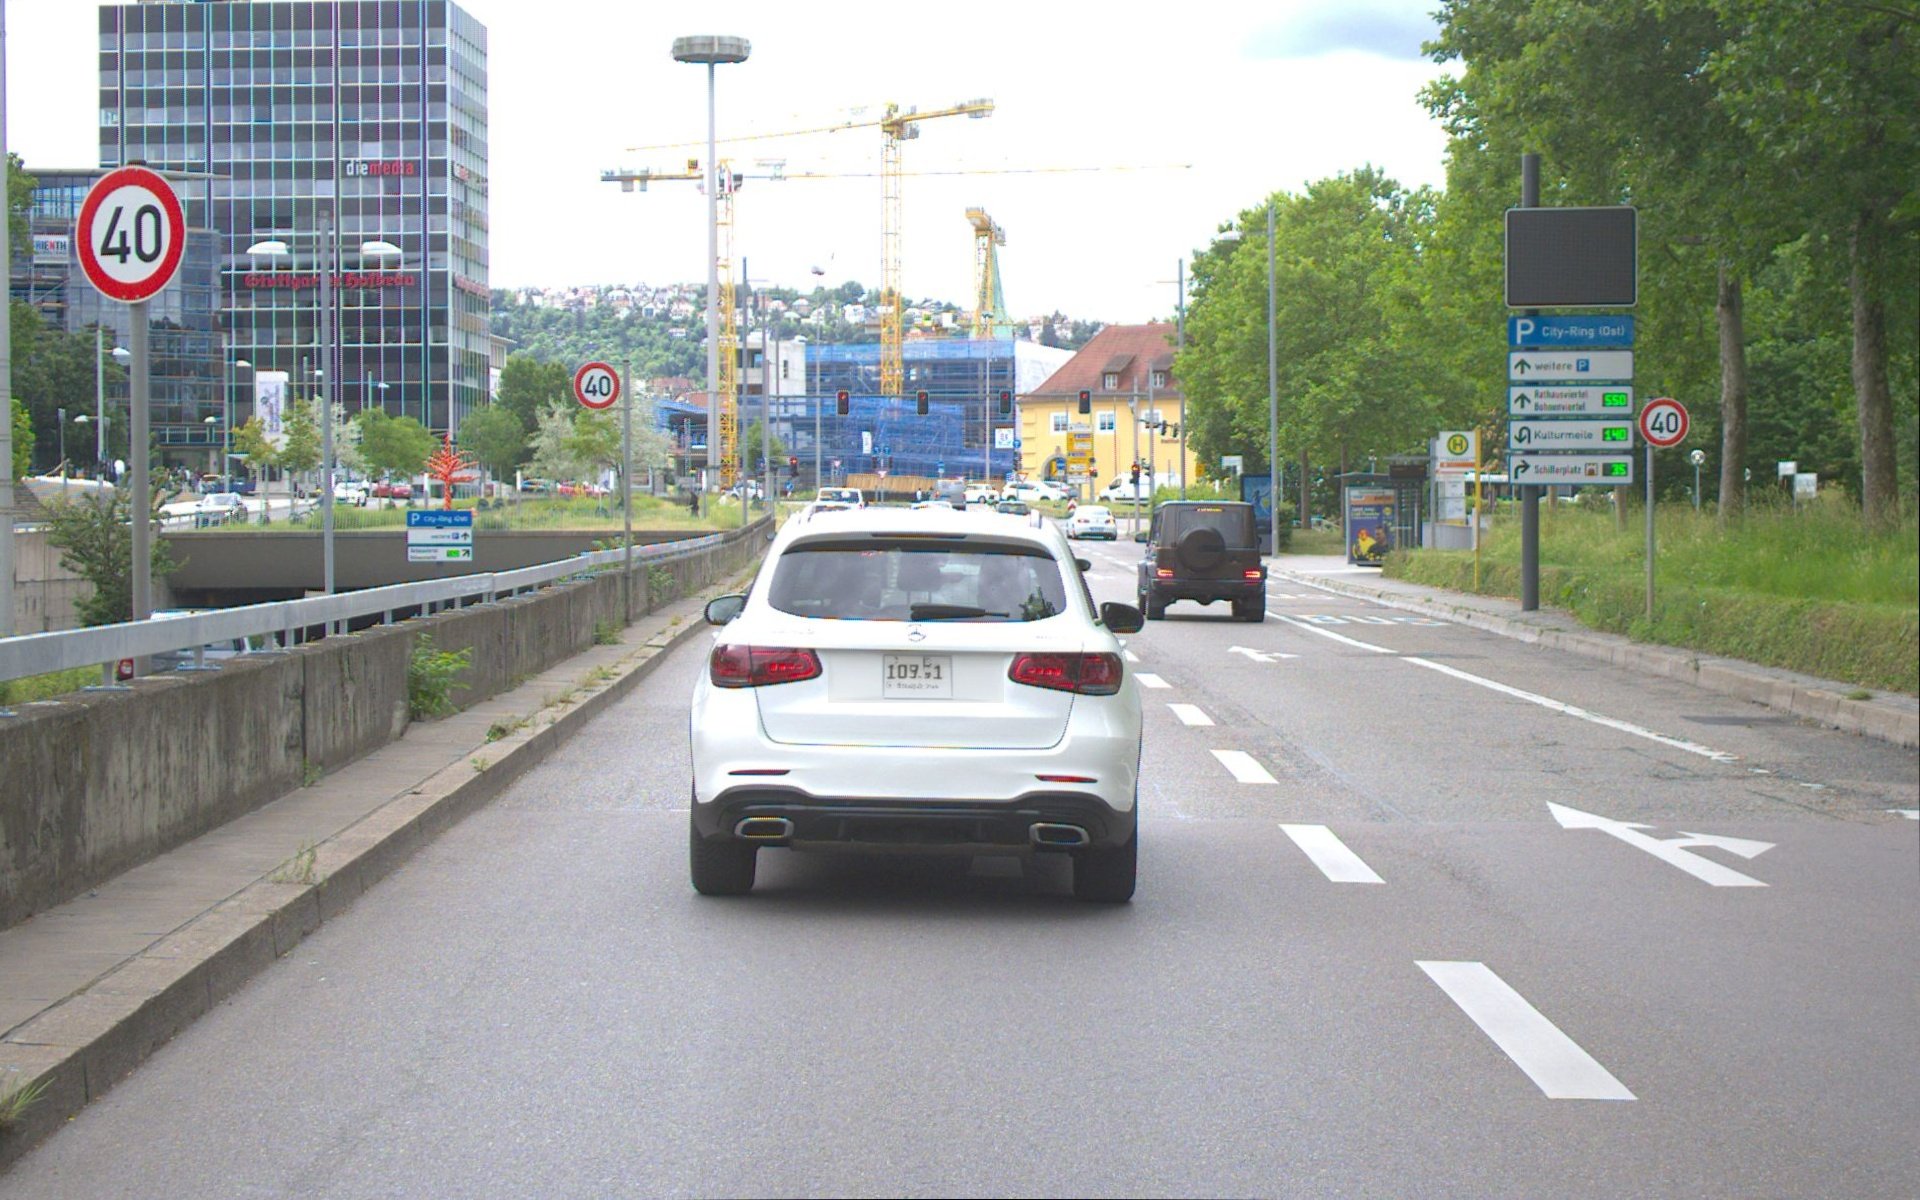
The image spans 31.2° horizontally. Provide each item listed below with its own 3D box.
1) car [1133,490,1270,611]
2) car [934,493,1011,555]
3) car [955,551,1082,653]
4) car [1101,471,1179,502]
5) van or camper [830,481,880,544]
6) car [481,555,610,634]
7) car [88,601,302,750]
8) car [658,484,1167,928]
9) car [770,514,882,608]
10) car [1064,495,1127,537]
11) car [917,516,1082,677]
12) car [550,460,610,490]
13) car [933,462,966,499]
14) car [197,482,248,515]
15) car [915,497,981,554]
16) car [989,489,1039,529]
[{"bbox_3d":[4.034,-0.824,58.100,1.977,1.887,4.707,2,0,1],"label":"car"},{"bbox_3d":[0.347,-2.153,98.468,1.993,1.656,4.000,2,0,-2],"label":"car"},{"bbox_3d":[0.953,0.005,58.015,1.922,1.596,4.001,1,1,-2],"label":"car"},{"bbox_3d":[12.817,-8.097,245.557,5.282,2.053,1.870,3,0,34],"label":"car"},{"bbox_3d":[-4.128,-3.430,135.076,1.922,2.312,4.000,1,0,-2],"label":"van or camper"},{"bbox_3d":[-7.424,-0.127,61.880,1.719,1.288,4.000,2,1,1],"label":"car"},{"bbox_3d":[-8.412,0.800,38.062,1.627,1.504,3.540,1,0,-1],"label":"car"},{"bbox_3d":[-0.256,0.399,15.420,1.940,1.678,4.000,2,0,-2],"label":"car"},{"bbox_3d":[-2.392,-0.721,61.654,1.922,1.596,4.001,1,1,-2],"label":"car"},{"bbox_3d":[5.626,-3.483,142.801,1.993,1.612,4.001,2,0,-6],"label":"car"},{"bbox_3d":[0.395,-0.067,38.118,1.672,1.622,4.000,2,1,-1],"label":"car"},{"bbox_3d":[-28.270,-9.316,255.788,3.985,2.007,2.001,2,0,-18],"label":"car"},{"bbox_3d":[-0.621,-7.216,207.980,1.800,2.007,4.000,2,0,-2],"label":"car"},{"bbox_3d":[-33.264,-4.557,155.048,1.832,1.355,3.869,2,0,-7],"label":"car"},{"bbox_3d":[-0.423,-2.444,113.674,1.993,1.774,4.000,2,0,-2],"label":"car"},{"bbox_3d":[2.226,-3.775,142.772,1.719,1.579,4.001,2,1,-3],"label":"car"}]
